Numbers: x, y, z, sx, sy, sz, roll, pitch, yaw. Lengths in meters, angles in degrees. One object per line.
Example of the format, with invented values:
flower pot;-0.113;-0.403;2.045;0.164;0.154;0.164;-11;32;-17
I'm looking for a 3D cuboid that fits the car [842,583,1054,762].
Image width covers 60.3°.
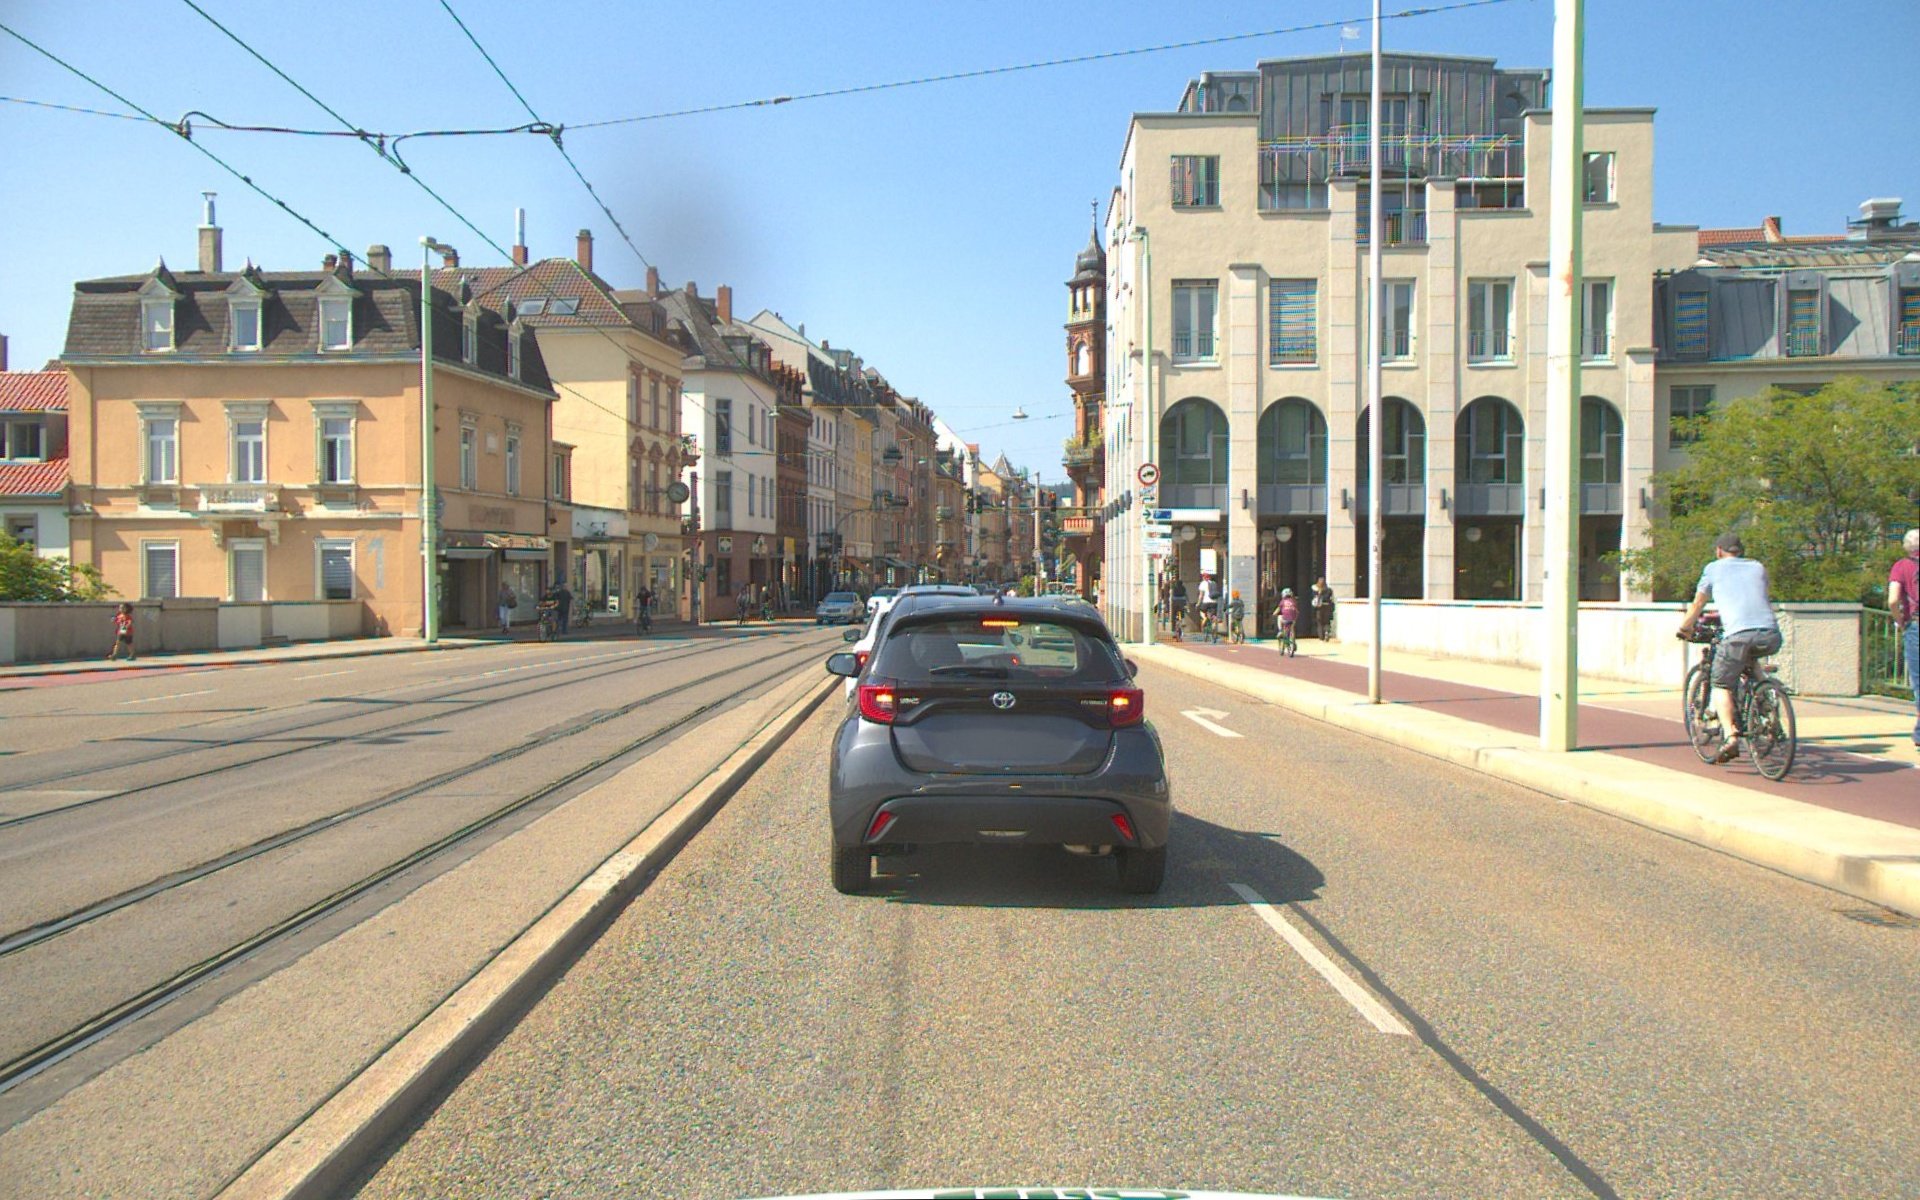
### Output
car;-0.151;0.638;16.797;1.859;1.557;3.999;1;0;-1

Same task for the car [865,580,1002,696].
car;-0.413;0.515;24.861;1.859;1.557;3.999;1;0;-1

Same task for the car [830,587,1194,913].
car;0.206;0.696;9.602;1.685;1.499;3.657;1;0;-1

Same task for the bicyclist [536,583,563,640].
bicyclist;-12.410;0.339;50.039;0.614;1.679;0.622;2;1;-1

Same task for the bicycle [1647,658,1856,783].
bicycle;5.909;0.874;12.474;0.582;0.779;1.865;-1;0;-3

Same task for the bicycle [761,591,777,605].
bicycle;-9.894;-0.111;85.679;0.607;0.728;1.771;1;1;-1

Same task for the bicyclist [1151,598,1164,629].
bicyclist;8.483;0.583;70.975;0.527;1.339;0.672;-1;0;5

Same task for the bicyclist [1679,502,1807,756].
bicyclist;5.889;0.209;12.465;0.575;1.852;0.701;-1;0;-3

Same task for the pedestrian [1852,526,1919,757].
pedestrian;7.951;0.315;13.505;0.724;1.833;1.015;-2;0;-1

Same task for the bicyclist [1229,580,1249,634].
bicyclist;7.405;0.191;43.950;0.413;1.407;0.443;-2;0;-1

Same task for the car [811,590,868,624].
car;-5.452;0.317;75.299;1.694;1.486;4.377;0;0;9

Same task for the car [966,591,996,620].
car;1.514;0.420;119.038;1.952;2.049;4.001;1;-1;3

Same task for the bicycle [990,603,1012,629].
bicycle;2.434;0.948;98.762;1.089;1.444;3.007;3;0;-1

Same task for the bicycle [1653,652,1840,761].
bicycle;6.555;0.864;13.891;0.582;0.779;1.865;-1;0;-3

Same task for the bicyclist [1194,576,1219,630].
bicyclist;6.833;0.088;45.821;0.480;1.492;0.437;-2;0;-40

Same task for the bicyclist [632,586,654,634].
bicyclist;-11.412;0.353;59.551;0.614;1.679;0.622;2;1;-1

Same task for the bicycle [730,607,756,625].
bicycle;-9.782;0.709;74.528;0.607;0.728;2.047;2;1;8

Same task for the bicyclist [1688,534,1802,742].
bicyclist;6.545;0.304;13.818;0.575;1.679;0.701;-1;0;-3

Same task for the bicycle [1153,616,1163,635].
bicycle;8.494;1.089;70.947;0.407;0.779;1.206;-2;0;6

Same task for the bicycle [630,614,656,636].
bicycle;-11.426;0.887;59.578;0.608;0.728;1.731;2;1;-1

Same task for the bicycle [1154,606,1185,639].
bicycle;6.033;0.648;47.755;0.689;0.898;1.525;-1;0;0

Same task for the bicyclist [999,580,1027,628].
bicyclist;2.927;0.233;91.520;1.205;2.572;1.103;4;0;-9

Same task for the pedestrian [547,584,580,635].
pedestrian;-13.391;0.318;55.884;0.746;1.682;0.712;4;0;7

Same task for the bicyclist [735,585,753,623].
bicyclist;-9.756;0.189;74.587;0.614;1.679;0.622;2;1;8

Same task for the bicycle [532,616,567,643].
bicycle;-12.426;0.892;50.074;0.608;0.728;1.771;2;1;-1

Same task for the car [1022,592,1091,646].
car;2.806;0.529;48.875;1.671;1.491;4.325;1;0;-1

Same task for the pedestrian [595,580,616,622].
pedestrian;-14.262;0.025;66.547;0.636;1.629;0.566;4;2;-1

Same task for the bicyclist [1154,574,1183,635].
bicyclist;6.023;0.117;47.788;0.687;1.725;0.924;-1;0;-1

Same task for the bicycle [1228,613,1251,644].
bicycle;7.426;0.745;43.958;0.408;0.779;0.961;-2;0;-1

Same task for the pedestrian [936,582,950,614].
pedestrian;-1.421;-0.204;139.938;1.029;2.633;1.501;3;0;-1

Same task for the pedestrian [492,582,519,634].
pedestrian;-14.730;0.262;53.635;0.636;1.629;0.566;4;2;-1

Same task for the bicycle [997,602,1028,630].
bicycle;2.882;0.878;91.428;1.092;1.444;3.000;3;0;-10

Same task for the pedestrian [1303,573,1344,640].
pedestrian;9.336;0.173;42.510;0.724;1.642;1.015;4;0;-2

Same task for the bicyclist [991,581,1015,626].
bicyclist;2.546;0.218;98.575;1.203;2.572;1.104;4;0;-2

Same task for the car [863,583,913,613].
car;-3.889;-0.109;89.917;1.951;1.614;4.656;0;0;7

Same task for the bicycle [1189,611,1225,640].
bicycle;6.843;0.708;45.835;0.414;0.779;0.948;-2;0;-39

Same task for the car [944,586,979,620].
car;0.095;0.224;105.160;1.952;2.049;4.001;1;-1;3

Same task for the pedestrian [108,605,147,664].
pedestrian;-16.987;0.697;33.762;0.403;1.166;0.545;4;0;6

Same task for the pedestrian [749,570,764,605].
pedestrian;-10.567;-0.659;85.896;0.721;1.797;0.787;0;1;-1

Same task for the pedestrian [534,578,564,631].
pedestrian;-14.410;0.143;58.034;0.721;1.796;0.787;4;0;-1

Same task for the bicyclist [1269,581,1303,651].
bicyclist;6.685;0.322;33.950;0.523;1.407;0.669;-2;0;-1

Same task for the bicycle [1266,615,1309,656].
bicycle;6.706;0.726;33.893;0.503;0.779;1.660;-2;0;-1
